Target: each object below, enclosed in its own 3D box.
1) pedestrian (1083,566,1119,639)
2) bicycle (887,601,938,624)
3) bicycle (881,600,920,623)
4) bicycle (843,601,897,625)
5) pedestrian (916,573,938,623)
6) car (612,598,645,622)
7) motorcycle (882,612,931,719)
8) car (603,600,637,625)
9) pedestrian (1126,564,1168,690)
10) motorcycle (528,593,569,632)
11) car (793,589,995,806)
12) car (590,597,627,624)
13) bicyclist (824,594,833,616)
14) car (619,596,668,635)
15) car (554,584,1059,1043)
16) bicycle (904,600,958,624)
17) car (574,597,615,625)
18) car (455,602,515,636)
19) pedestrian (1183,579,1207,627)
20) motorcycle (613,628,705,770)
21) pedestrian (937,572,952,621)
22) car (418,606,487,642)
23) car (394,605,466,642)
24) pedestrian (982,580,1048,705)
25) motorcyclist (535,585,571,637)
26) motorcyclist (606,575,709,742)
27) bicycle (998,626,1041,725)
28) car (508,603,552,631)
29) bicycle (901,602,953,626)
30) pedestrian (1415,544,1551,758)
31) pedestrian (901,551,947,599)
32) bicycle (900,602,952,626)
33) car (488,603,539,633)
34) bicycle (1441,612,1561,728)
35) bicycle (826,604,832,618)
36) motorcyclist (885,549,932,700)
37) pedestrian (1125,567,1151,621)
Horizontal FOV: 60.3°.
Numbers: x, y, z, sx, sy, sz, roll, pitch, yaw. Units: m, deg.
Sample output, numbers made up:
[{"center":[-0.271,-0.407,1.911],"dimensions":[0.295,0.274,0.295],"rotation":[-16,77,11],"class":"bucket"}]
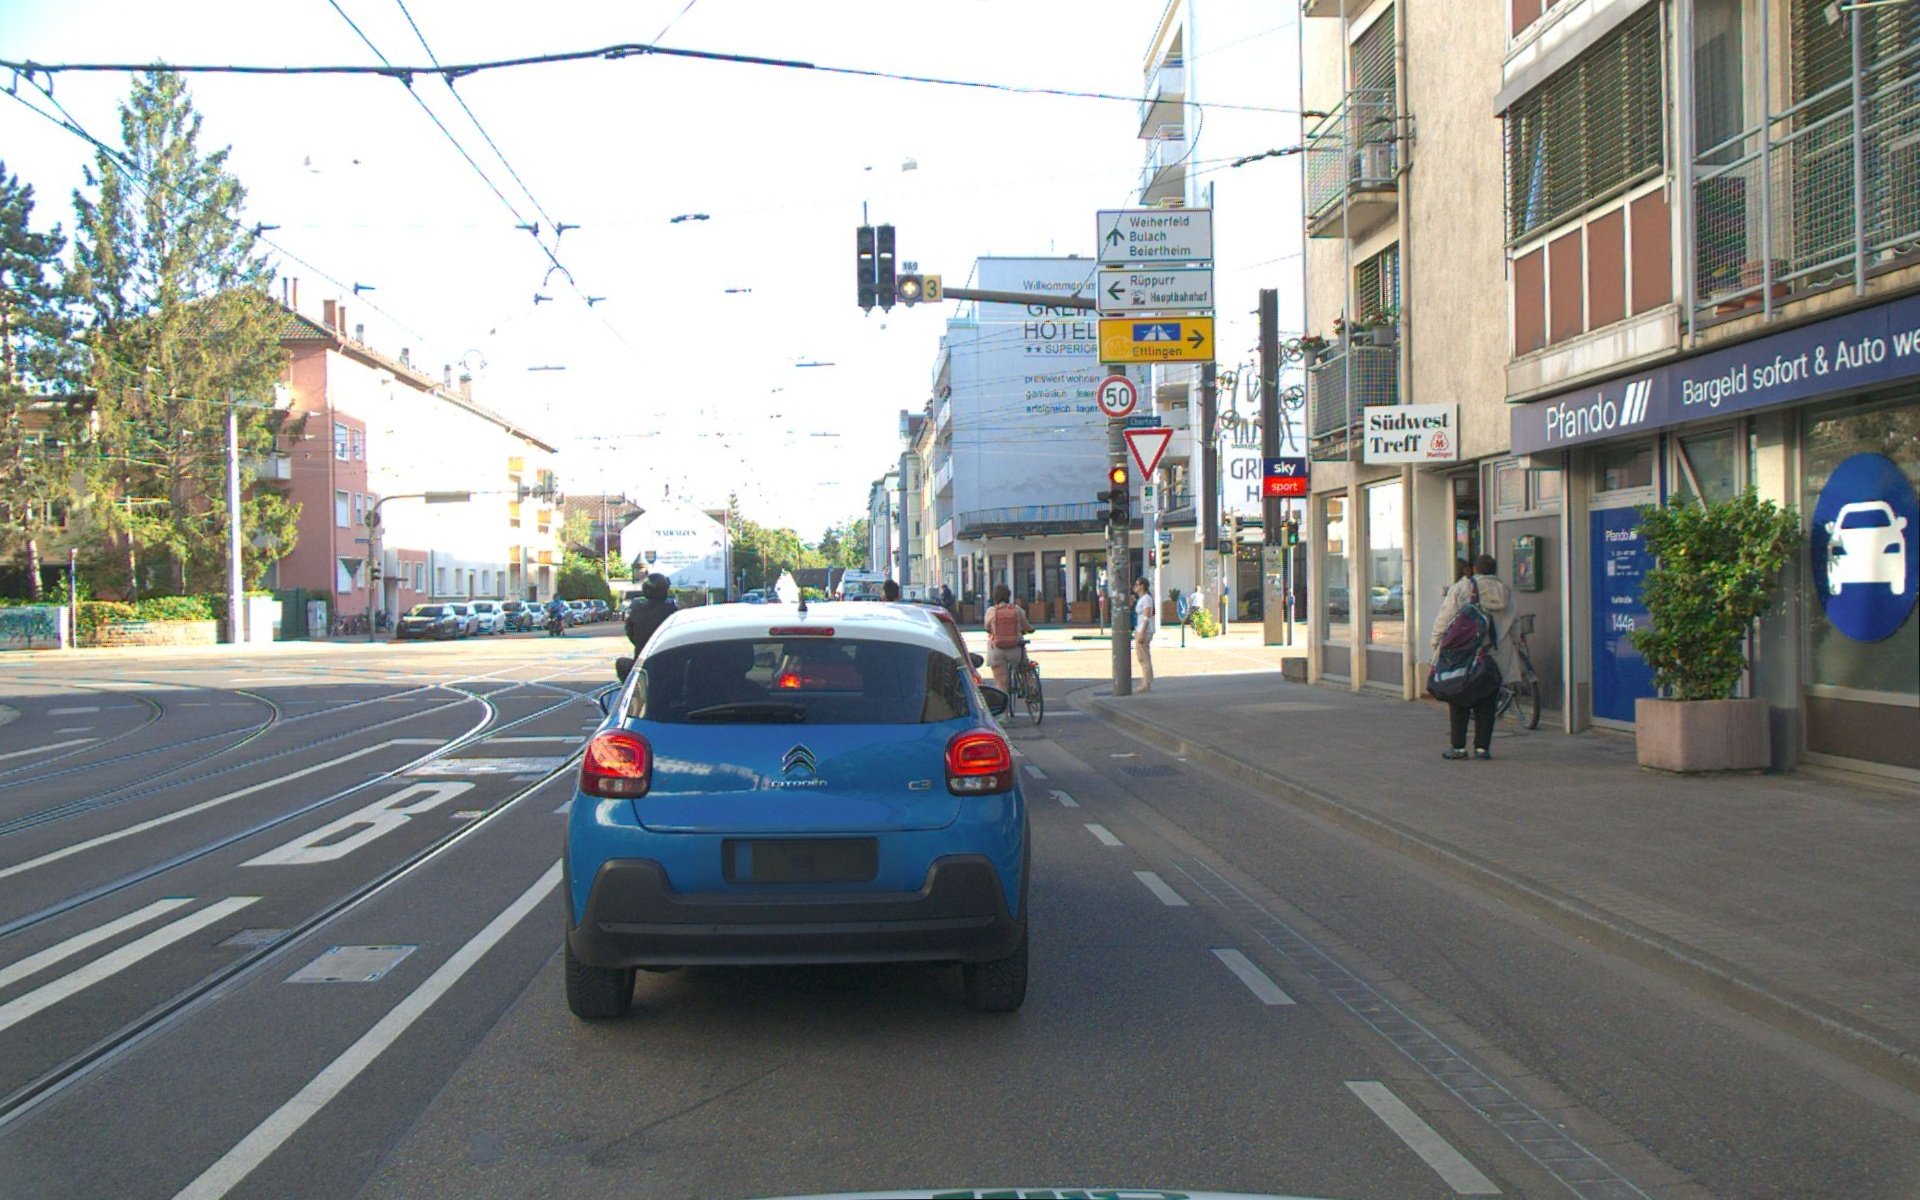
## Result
[{"center":[4.001,0.075,46.995],"dimensions":[0.907,2.049,0.759],"rotation":[1,-1,-1],"class":"pedestrian"},{"center":[-1.965,0.509,68.289],"dimensions":[2.093,0.917,0.366],"rotation":[1,-1,-10],"class":"bicycle"},{"center":[-2.505,0.492,69.310],"dimensions":[1.751,0.917,0.365],"rotation":[1,-1,34],"class":"bicycle"},{"center":[-3.605,0.533,66.177],"dimensions":[2.093,0.917,0.366],"rotation":[1,-1,-10],"class":"bicycle"},{"center":[-1.386,-0.085,69.150],"dimensions":[0.625,2.049,0.715],"rotation":[1,-1,-37],"class":"pedestrian"},{"center":[-24.297,0.721,121.329],"dimensions":[1.809,1.716,3.871],"rotation":[1,0,-4],"class":"car"},{"center":[-0.616,0.732,19.407],"dimensions":[0.515,1.159,2.289],"rotation":[1,0,-1],"class":"motorcycle"},{"center":[-23.882,0.885,116.266],"dimensions":[1.797,1.716,3.997],"rotation":[1,0,-4],"class":"car"},{"center":[2.742,0.397,24.313],"dimensions":[0.507,1.814,0.595],"rotation":[1,-1,-3],"class":"pedestrian"},{"center":[-16.540,0.488,66.515],"dimensions":[0.905,1.512,3.723],"rotation":[1,0,-4],"class":"motorcycle"},{"center":[-0.482,0.694,13.097],"dimensions":[1.395,1.493,2.923],"rotation":[-1,0,-1],"class":"car"},{"center":[-23.619,0.689,111.124],"dimensions":[1.845,1.716,3.997],"rotation":[1,0,-4],"class":"car"},{"center":[-8.932,0.323,112.580],"dimensions":[0.549,1.503,0.748],"rotation":[1,-1,1],"class":"bicyclist"},{"center":[-14.538,0.694,76.163],"dimensions":[1.740,1.695,3.853],"rotation":[1,0,-4],"class":"car"},{"center":[-0.522,0.705,7.150],"dimensions":[1.620,1.469,3.522],"rotation":[1,0,-1],"class":"car"},{"center":[-1.164,0.487,65.889],"dimensions":[2.093,0.917,0.366],"rotation":[1,-1,-10],"class":"bicycle"},{"center":[-23.353,0.705,105.752],"dimensions":[1.944,1.716,3.997],"rotation":[1,0,-4],"class":"car"},{"center":[-22.646,0.888,78.990],"dimensions":[1.751,1.537,4.148],"rotation":[1,0,-2],"class":"car"},{"center":[8.105,0.116,57.027],"dimensions":[0.720,1.629,0.749],"rotation":[1,-1,12],"class":"pedestrian"},{"center":[-2.852,0.904,15.832],"dimensions":[0.526,1.240,1.980],"rotation":[1,0,-1],"class":"motorcycle"},{"center":[-0.651,-0.152,70.312],"dimensions":[0.565,2.049,0.625],"rotation":[1,-1,-3],"class":"pedestrian"},{"center":[-22.385,1.046,73.100],"dimensions":[1.778,1.524,4.299],"rotation":[1,0,-1],"class":"car"},{"center":[-21.884,0.949,68.444],"dimensions":[1.757,1.446,3.994],"rotation":[1,0,-2],"class":"car"},{"center":[0.668,0.513,20.258],"dimensions":[0.761,1.486,0.681],"rotation":[1,-1,-1],"class":"pedestrian"},{"center":[-16.482,0.428,67.029],"dimensions":[1.162,2.049,1.274],"rotation":[-1,0,-4],"class":"motorcyclist"},{"center":[-2.852,0.545,15.662],"dimensions":[0.843,1.531,0.598],"rotation":[1,-1,-1],"class":"motorcyclist"},{"center":[0.728,0.905,20.553],"dimensions":[0.419,1.142,1.998],"rotation":[1,0,-1],"class":"bicycle"},{"center":[-23.782,0.922,91.538],"dimensions":[1.699,1.524,3.996],"rotation":[1,0,-5],"class":"car"},{"center":[-1.332,0.576,66.985],"dimensions":[2.093,0.917,0.366],"rotation":[1,-1,-10],"class":"bicycle"},{"center":[4.087,0.390,12.977],"dimensions":[0.808,1.620,0.751],"rotation":[1,-1,-1],"class":"pedestrian"},{"center":[-1.602,-1.076,73.515],"dimensions":[1.953,2.049,3.999],"rotation":[1,0,-1],"class":"pedestrian"},{"center":[-1.394,0.571,67.388],"dimensions":[2.093,0.917,0.366],"rotation":[1,-1,-10],"class":"bicycle"},{"center":[-23.103,0.921,85.660],"dimensions":[1.750,1.524,3.997],"rotation":[1,0,-4],"class":"car"},{"center":[5.053,0.626,15.533],"dimensions":[0.531,1.016,1.705],"rotation":[1,0,-1],"class":"bicycle"},{"center":[-8.931,0.744,112.746],"dimensions":[0.342,0.919,1.858],"rotation":[1,0,-2],"class":"bicycle"},{"center":[-0.608,0.291,19.597],"dimensions":[0.516,1.746,0.717],"rotation":[1,-1,-1],"class":"motorcyclist"},{"center":[6.849,-0.224,63.484],"dimensions":[0.743,2.049,0.710],"rotation":[1,-1,30],"class":"pedestrian"}]
